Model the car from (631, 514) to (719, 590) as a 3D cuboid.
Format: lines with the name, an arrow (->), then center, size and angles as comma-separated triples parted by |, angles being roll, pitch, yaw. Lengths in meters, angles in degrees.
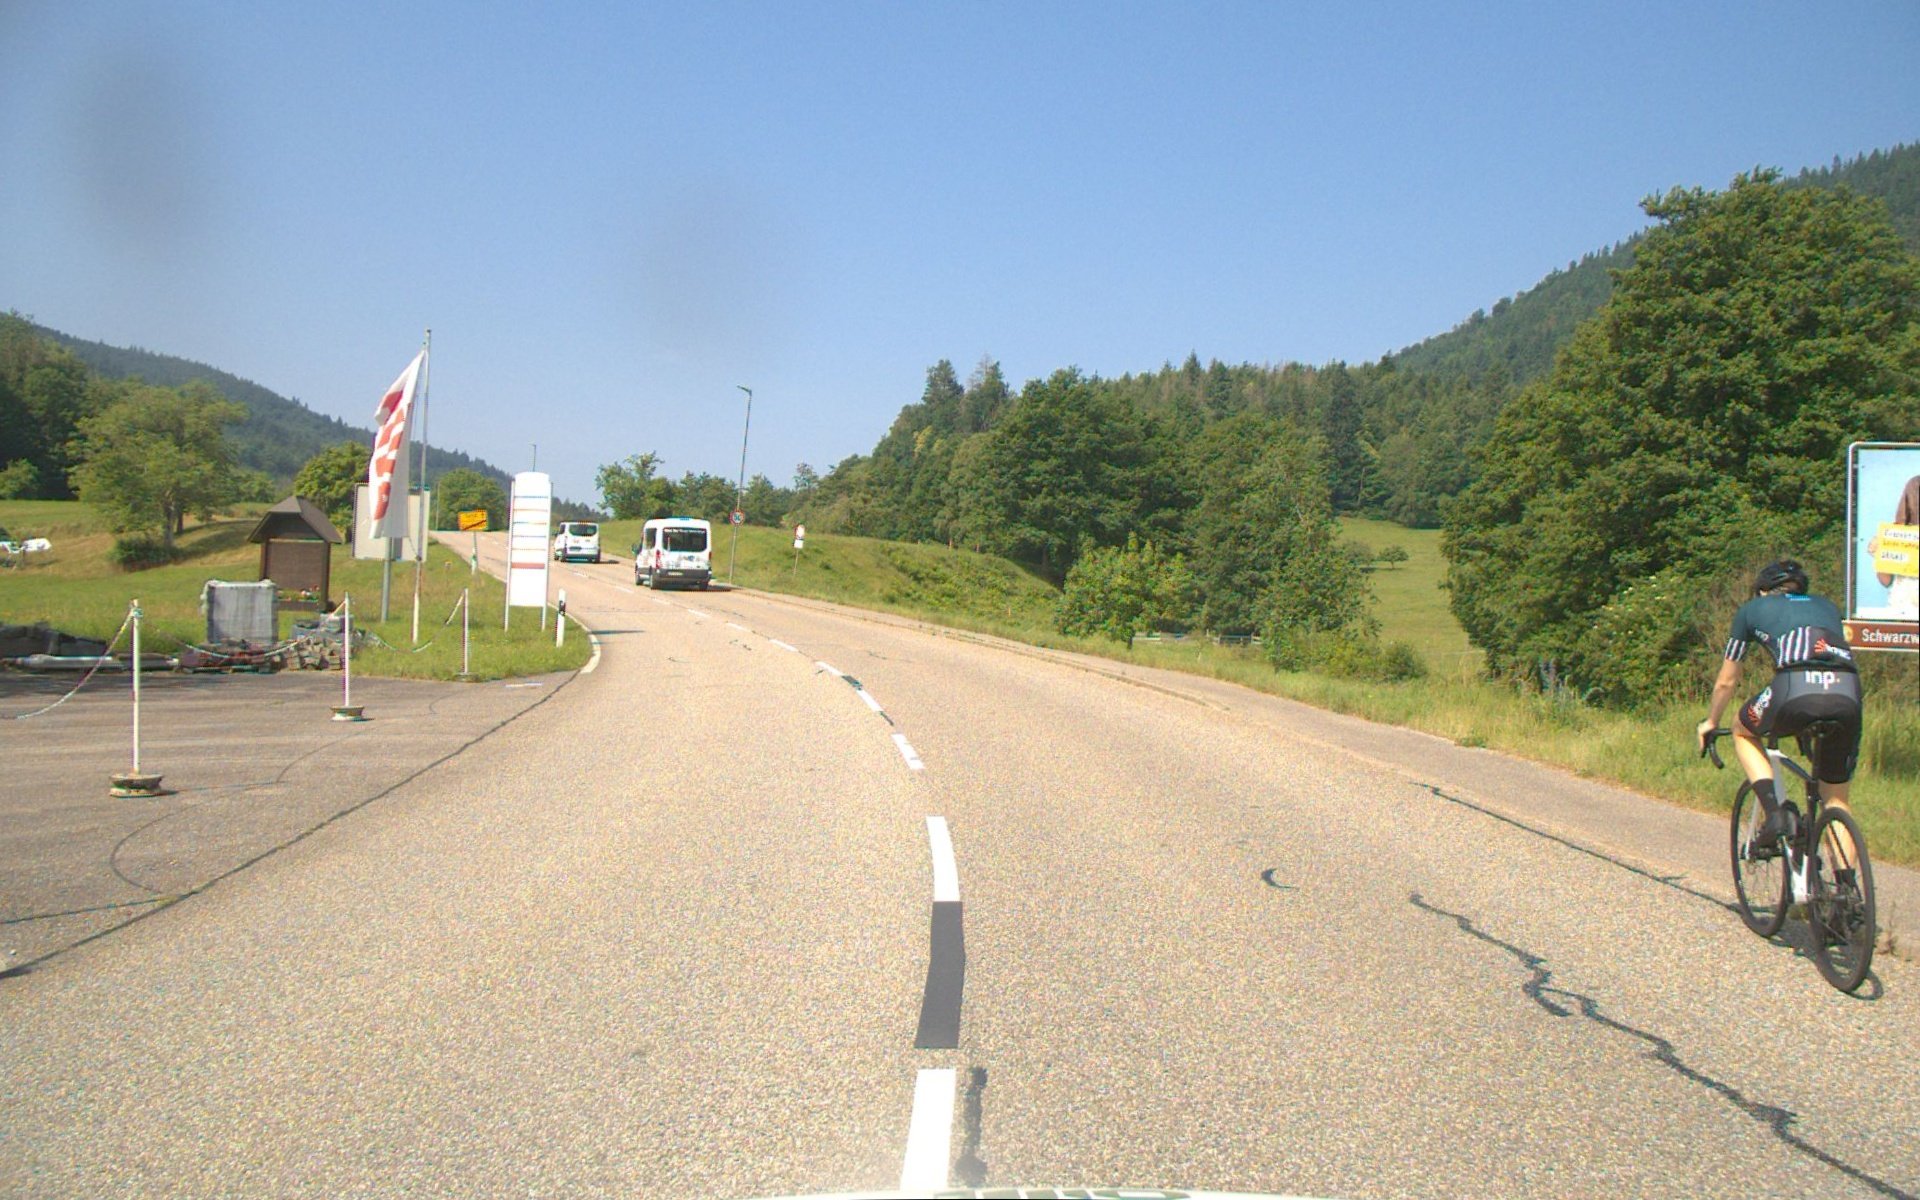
car -> -10.226, -1.698, 59.017 | 2.190, 2.569, 4.954 | -2, 2, -21

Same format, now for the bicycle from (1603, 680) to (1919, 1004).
bicycle -> 3.490, 0.934, 7.061 | 0.568, 1.053, 1.989 | -1, 1, -4

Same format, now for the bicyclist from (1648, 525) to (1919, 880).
bicyclist -> 3.478, 0.389, 7.001 | 0.568, 1.366, 1.144 | -1, 0, -4

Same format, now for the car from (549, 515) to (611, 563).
car -> -19.474, -3.094, 84.639 | 2.193, 2.326, 4.948 | -2, 2, -24
